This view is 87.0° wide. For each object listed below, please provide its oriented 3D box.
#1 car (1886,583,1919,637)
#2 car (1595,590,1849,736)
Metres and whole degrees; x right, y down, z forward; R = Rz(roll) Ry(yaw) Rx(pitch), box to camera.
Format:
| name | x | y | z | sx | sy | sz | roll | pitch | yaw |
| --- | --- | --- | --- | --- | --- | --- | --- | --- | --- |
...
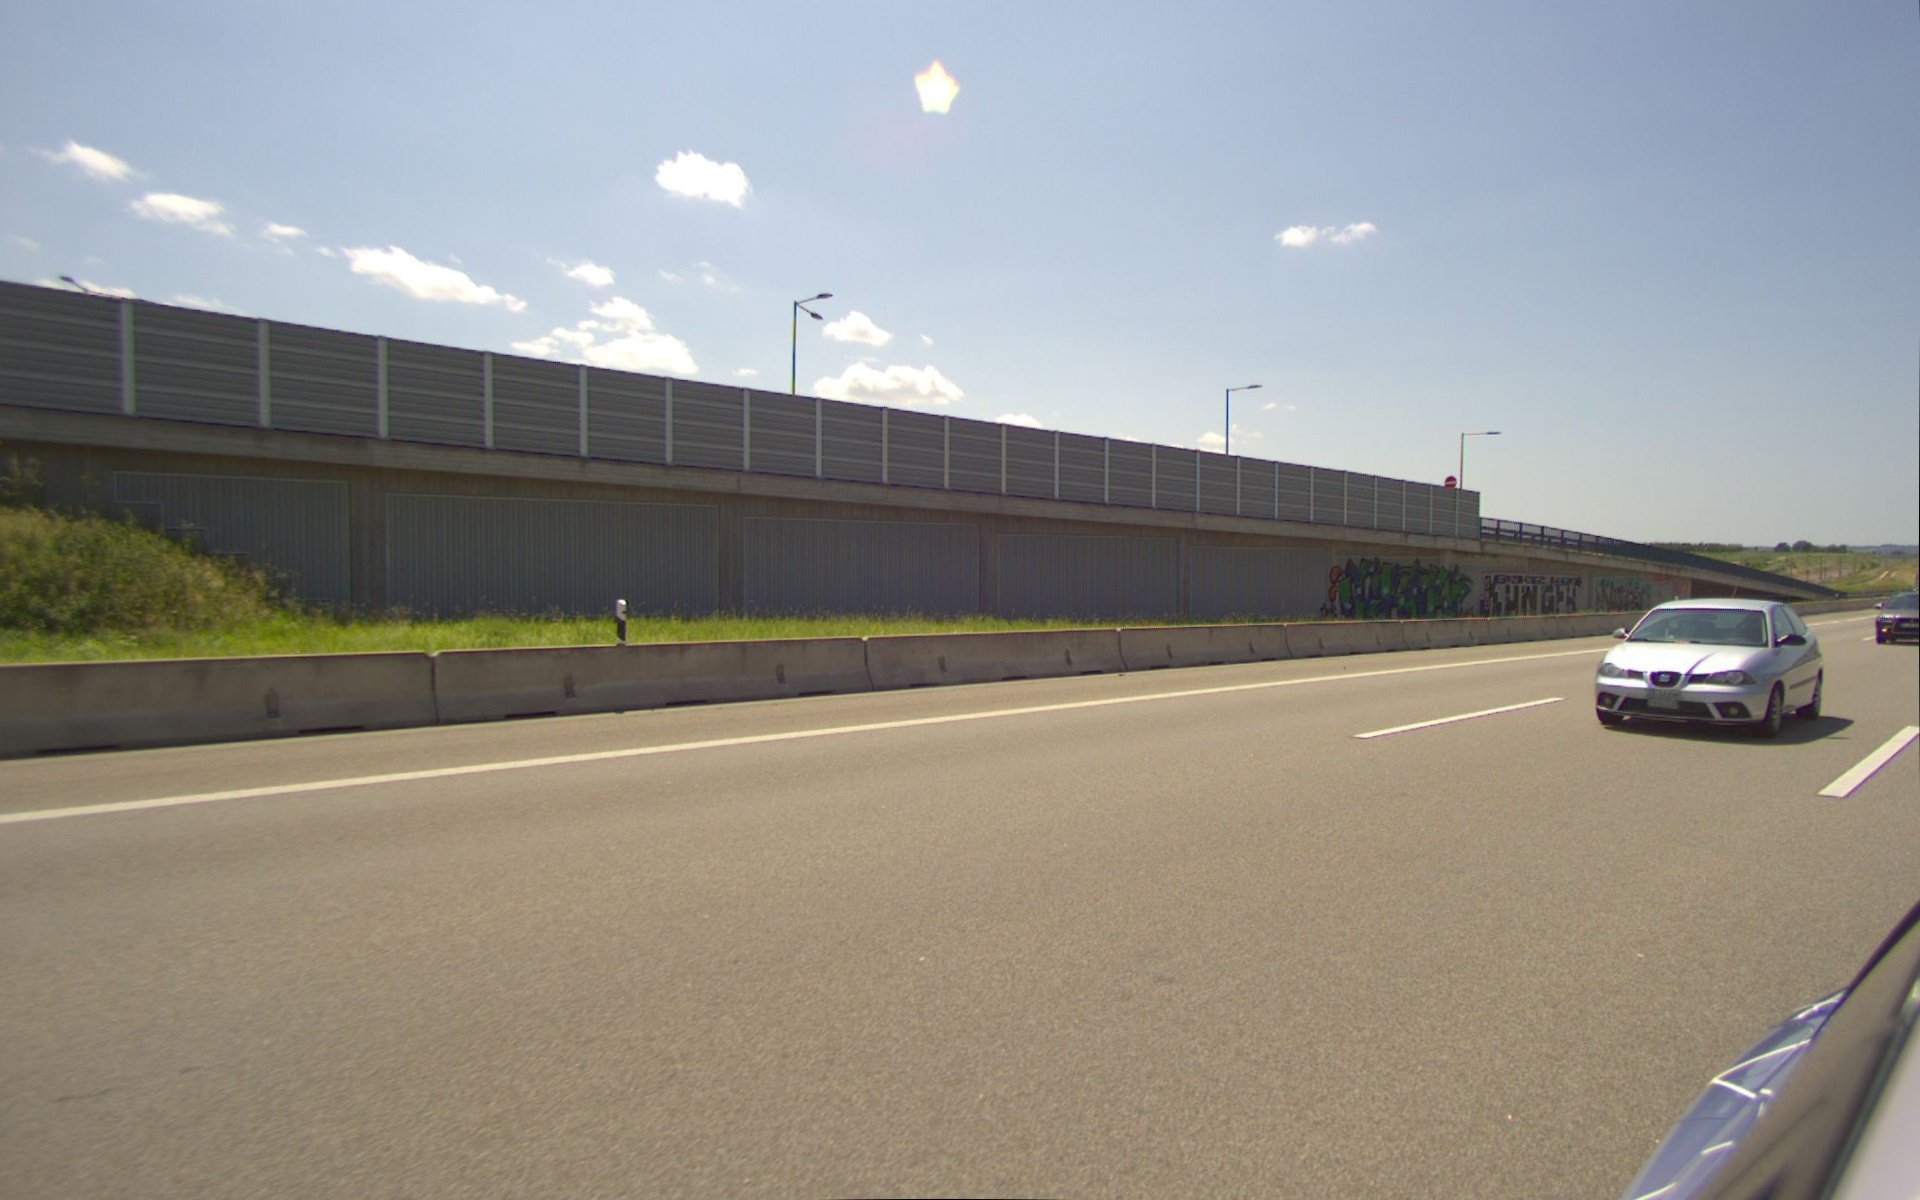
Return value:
| name | x | y | z | sx | sy | sz | roll | pitch | yaw |
| --- | --- | --- | --- | --- | --- | --- | --- | --- | --- |
| car | 30.252 | 0.276 | 31.450 | 3.931 | 1.588 | 1.749 | -1 | 1 | -41 |
| car | 9.054 | 0.606 | 11.912 | 3.931 | 1.407 | 1.633 | -1 | 1 | -41 |
